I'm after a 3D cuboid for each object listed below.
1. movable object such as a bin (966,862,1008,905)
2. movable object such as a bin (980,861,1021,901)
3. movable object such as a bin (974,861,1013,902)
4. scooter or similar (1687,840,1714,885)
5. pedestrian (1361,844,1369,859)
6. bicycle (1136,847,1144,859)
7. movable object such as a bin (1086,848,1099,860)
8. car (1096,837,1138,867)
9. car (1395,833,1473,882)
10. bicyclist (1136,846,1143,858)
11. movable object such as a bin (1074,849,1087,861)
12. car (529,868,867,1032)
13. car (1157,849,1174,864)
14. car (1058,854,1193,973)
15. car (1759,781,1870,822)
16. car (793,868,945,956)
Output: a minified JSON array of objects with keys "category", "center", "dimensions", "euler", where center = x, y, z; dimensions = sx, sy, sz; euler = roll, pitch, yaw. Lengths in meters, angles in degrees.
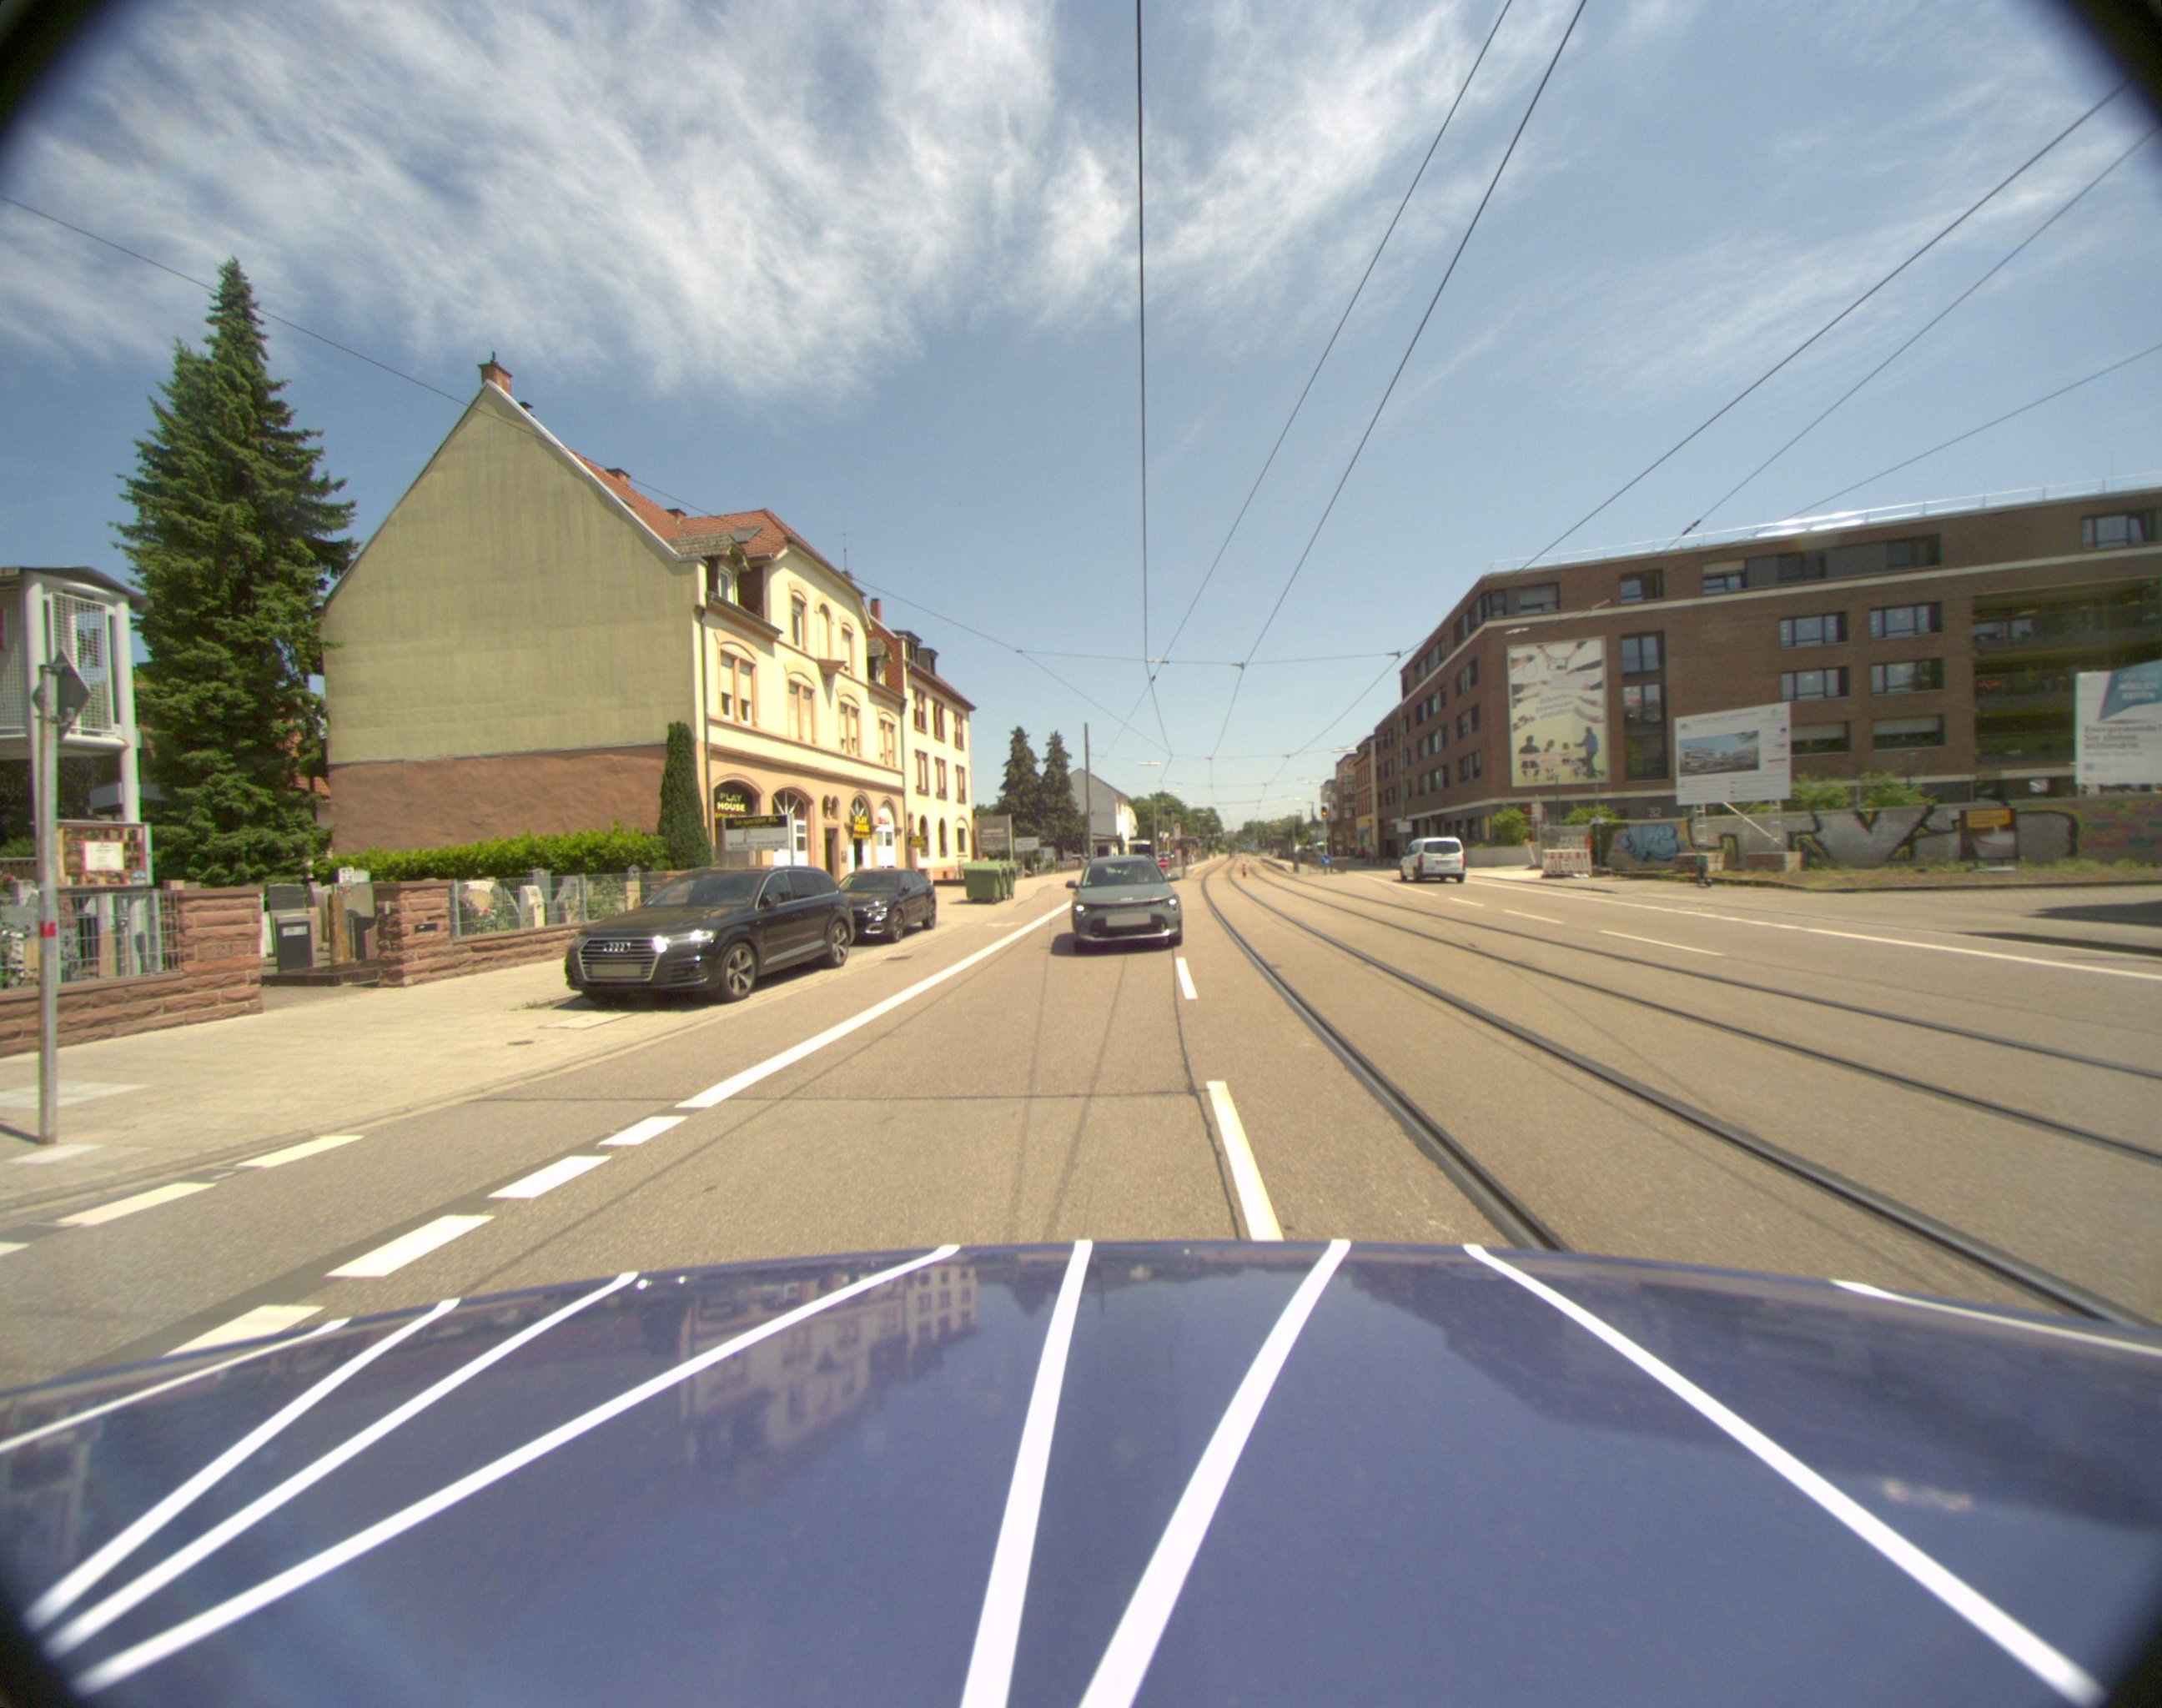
[{"category":"movable object such as a bin","center":[-3.284,1.026,26.592],"dimensions":[1.327,1.446,1.058],"euler":[0,1,1]},{"category":"movable object such as a bin","center":[-3.026,0.998,28.730],"dimensions":[1.395,1.446,1.139],"euler":[0,1,1]},{"category":"movable object such as a bin","center":[-3.175,0.999,27.646],"dimensions":[1.250,1.446,1.058],"euler":[0,1,1]},{"category":"scooter or similar","center":[18.113,0.223,22.223],"dimensions":[0.345,1.257,1.244],"euler":[-3,0,29]},{"category":"pedestrian","center":[29.889,-0.284,79.864],"dimensions":[0.604,1.586,0.715],"euler":[-2,1,10]},{"category":"bicycle","center":[9.222,-0.210,118.968],"dimensions":[0.799,1.889,1.961],"euler":[1,1,19]},{"category":"movable object such as a bin","center":[1.496,0.012,97.086],"dimensions":[1.389,1.473,1.152],"euler":[-2,1,13]},{"category":"car","center":[2.167,-0.126,44.423],"dimensions":[1.747,1.546,4.490],"euler":[-4,0,11]},{"category":"car","center":[14.479,0.099,31.451],"dimensions":[1.996,1.789,4.556],"euler":[-3,1,14]},{"category":"bicyclist","center":[9.167,-0.261,118.767],"dimensions":[0.790,1.864,0.888],"euler":[1,1,19]},{"category":"movable object such as a bin","center":[-0.083,0.084,97.757],"dimensions":[1.389,1.473,1.152],"euler":[-2,1,16]},{"category":"car","center":[-5.010,1.120,11.018],"dimensions":[1.928,1.683,5.083],"euler":[0,0,6]},{"category":"car","center":[9.412,0.269,84.376],"dimensions":[1.748,1.546,4.489],"euler":[-4,0,7]},{"category":"car","center":[0.745,0.841,12.915],"dimensions":[1.827,1.546,4.488],"euler":[-3,0,3]},{"category":"car","center":[31.443,-2.199,32.719],"dimensions":[1.734,1.460,4.004],"euler":[-3,0,16]},{"category":"car","center":[-4.493,1.167,16.882],"dimensions":[1.776,1.539,4.468],"euler":[0,1,5]}]
